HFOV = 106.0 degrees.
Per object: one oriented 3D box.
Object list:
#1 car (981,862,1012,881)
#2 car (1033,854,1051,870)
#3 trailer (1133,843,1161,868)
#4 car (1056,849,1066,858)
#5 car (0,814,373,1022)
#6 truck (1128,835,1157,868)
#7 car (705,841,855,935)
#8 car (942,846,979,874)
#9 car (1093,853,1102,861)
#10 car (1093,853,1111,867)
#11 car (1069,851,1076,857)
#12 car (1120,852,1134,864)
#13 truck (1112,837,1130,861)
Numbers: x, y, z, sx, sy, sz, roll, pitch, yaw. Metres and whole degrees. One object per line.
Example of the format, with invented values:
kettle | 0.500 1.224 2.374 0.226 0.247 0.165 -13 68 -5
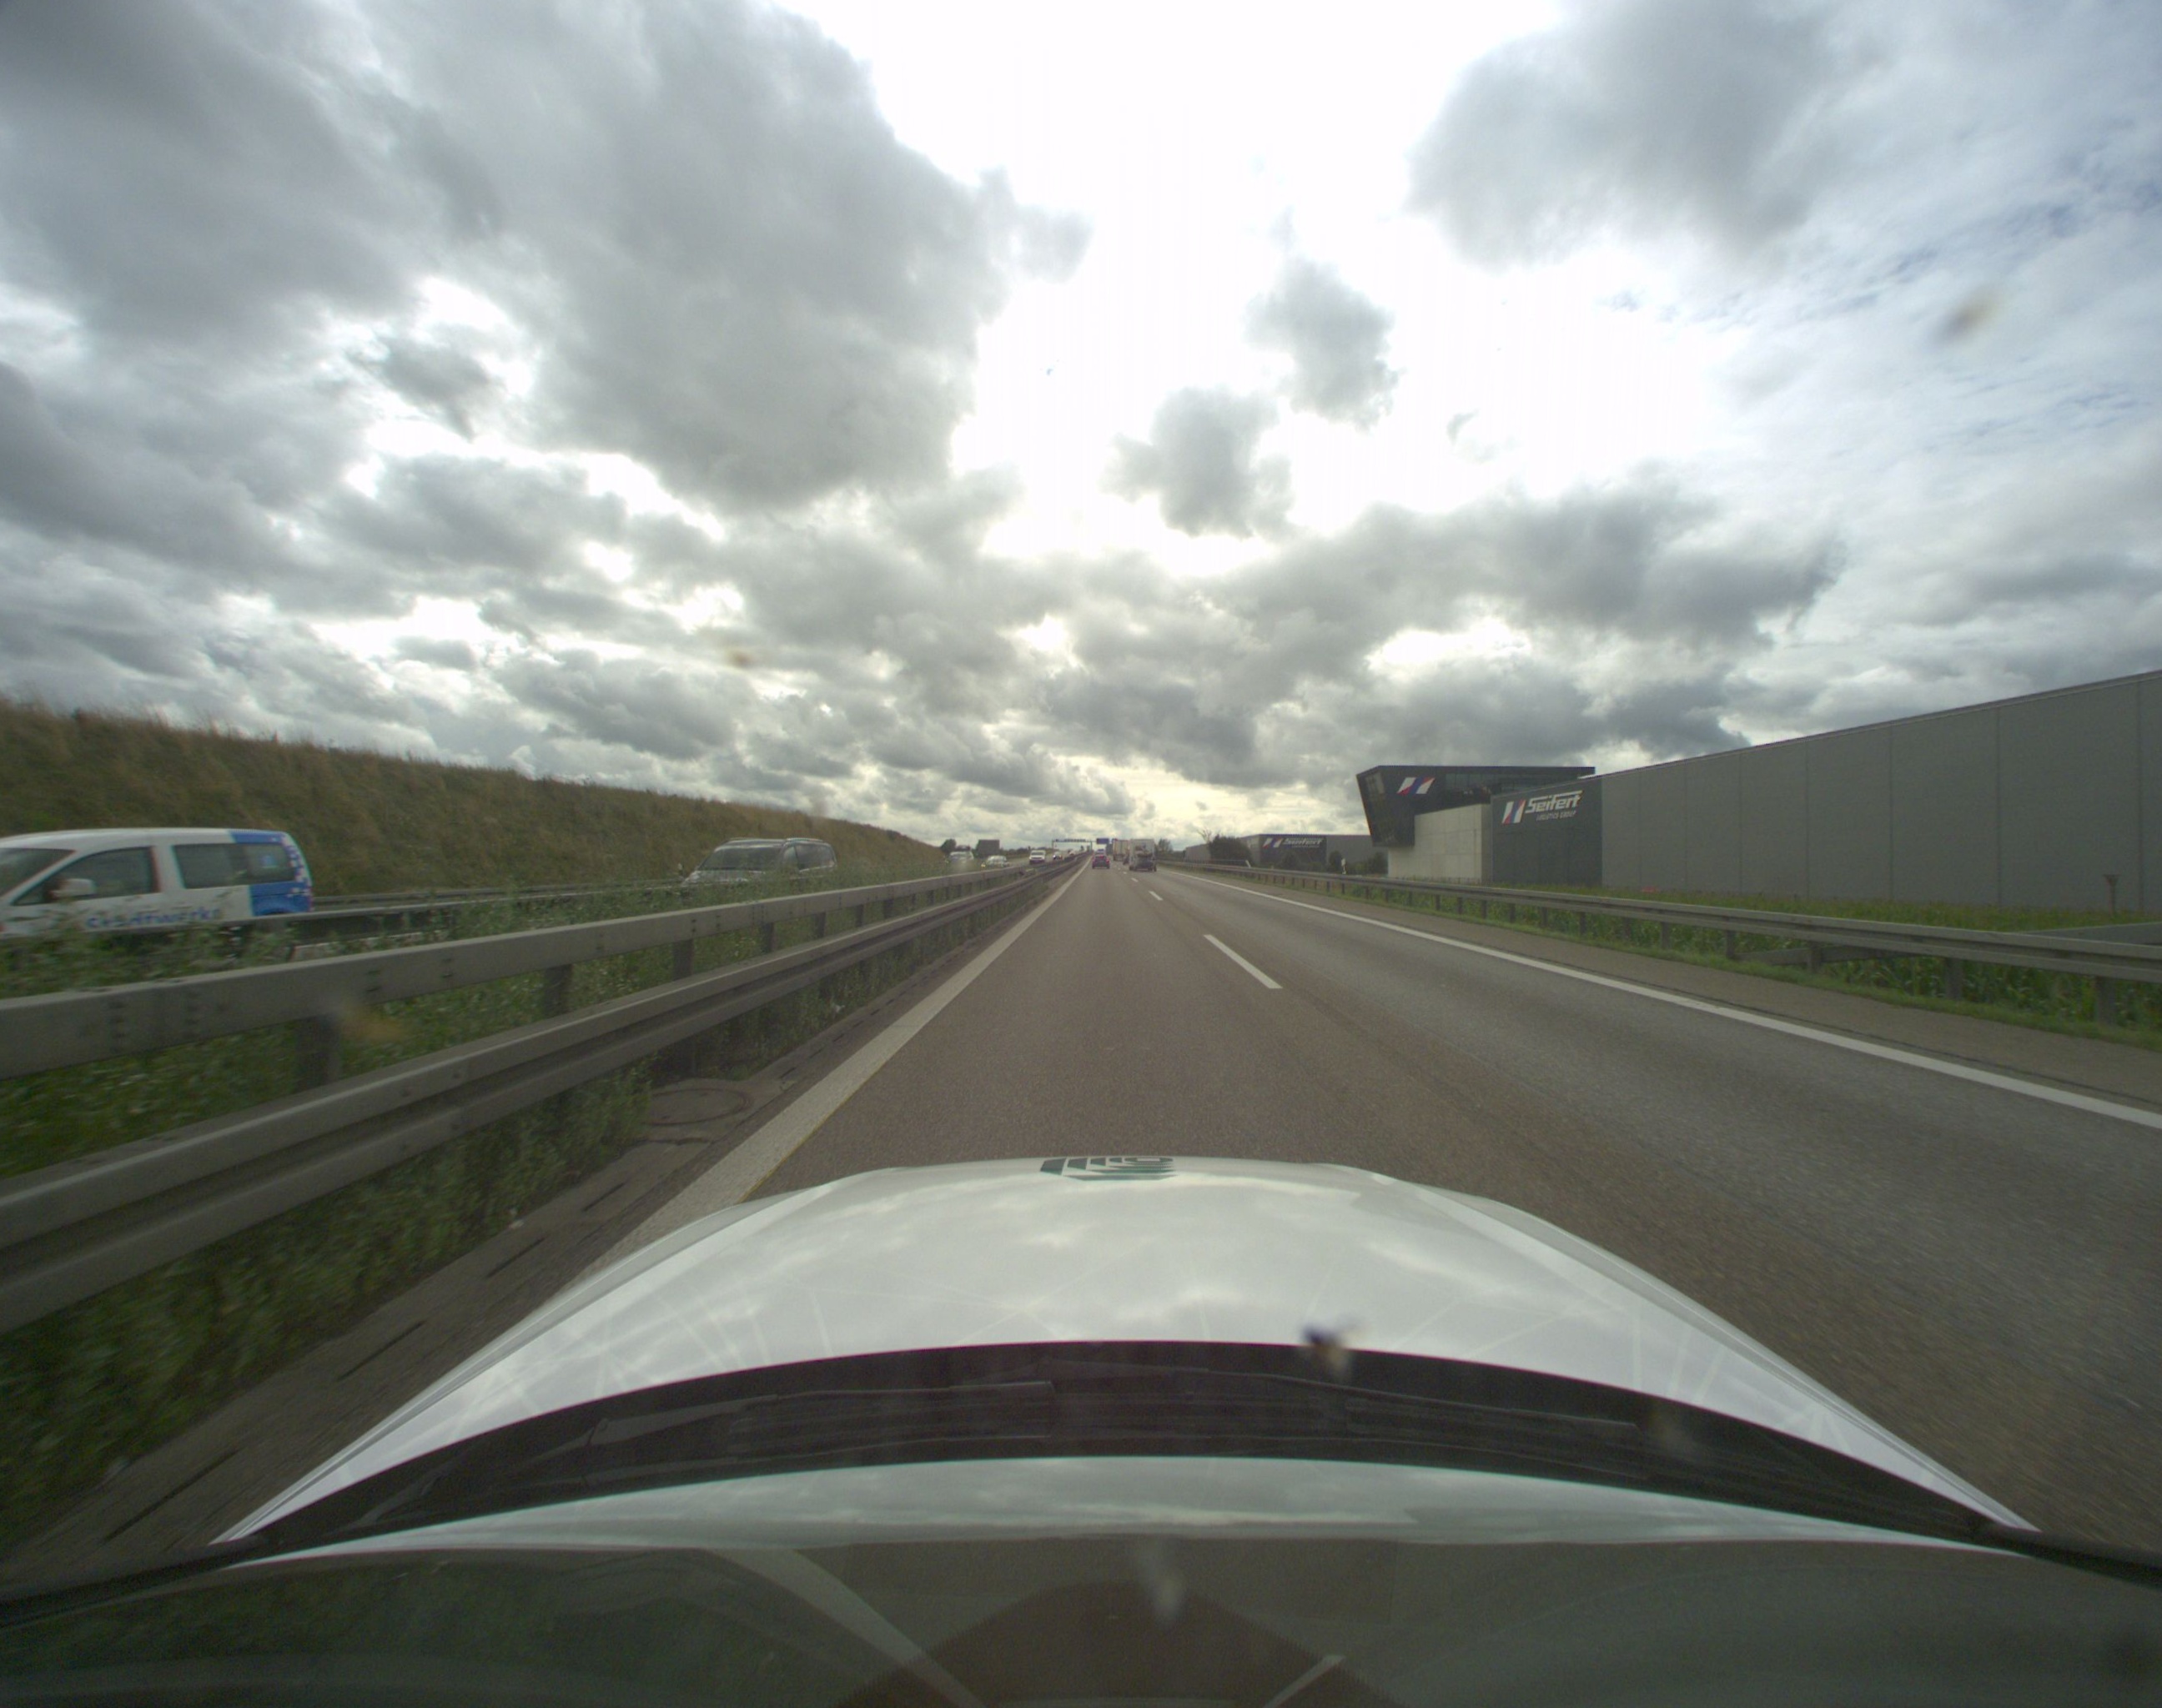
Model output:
car | -6.379 1.342 62.103 1.804 1.402 4.407 0 -1 2
car | -4.785 0.992 101.344 1.821 1.885 5.420 0 -1 2
trailer | 5.577 0.145 69.280 2.328 2.136 4.004 0 -1 4
car | -3.874 -0.074 157.707 1.834 1.576 4.001 0 -1 2
car | -11.377 0.624 9.518 1.986 2.013 4.710 0 0 2
truck | 5.678 -0.218 76.362 2.472 2.950 5.817 0 -1 2
car | -7.040 0.751 19.538 1.986 2.014 4.001 0 -1 2
car | -9.885 0.519 67.130 1.986 2.242 5.720 0 -1 2
car | 3.687 0.656 185.571 1.935 1.775 3.699 0 -1 3
car | 2.193 0.605 84.209 1.739 1.453 4.004 0 -1 4
car | -2.616 0.031 247.044 1.899 1.513 4.730 0 -1 1
car | 6.296 0.558 112.791 1.794 1.685 4.001 0 -1 1
truck | 7.577 -0.930 156.338 3.327 4.534 8.019 0 -1 2
